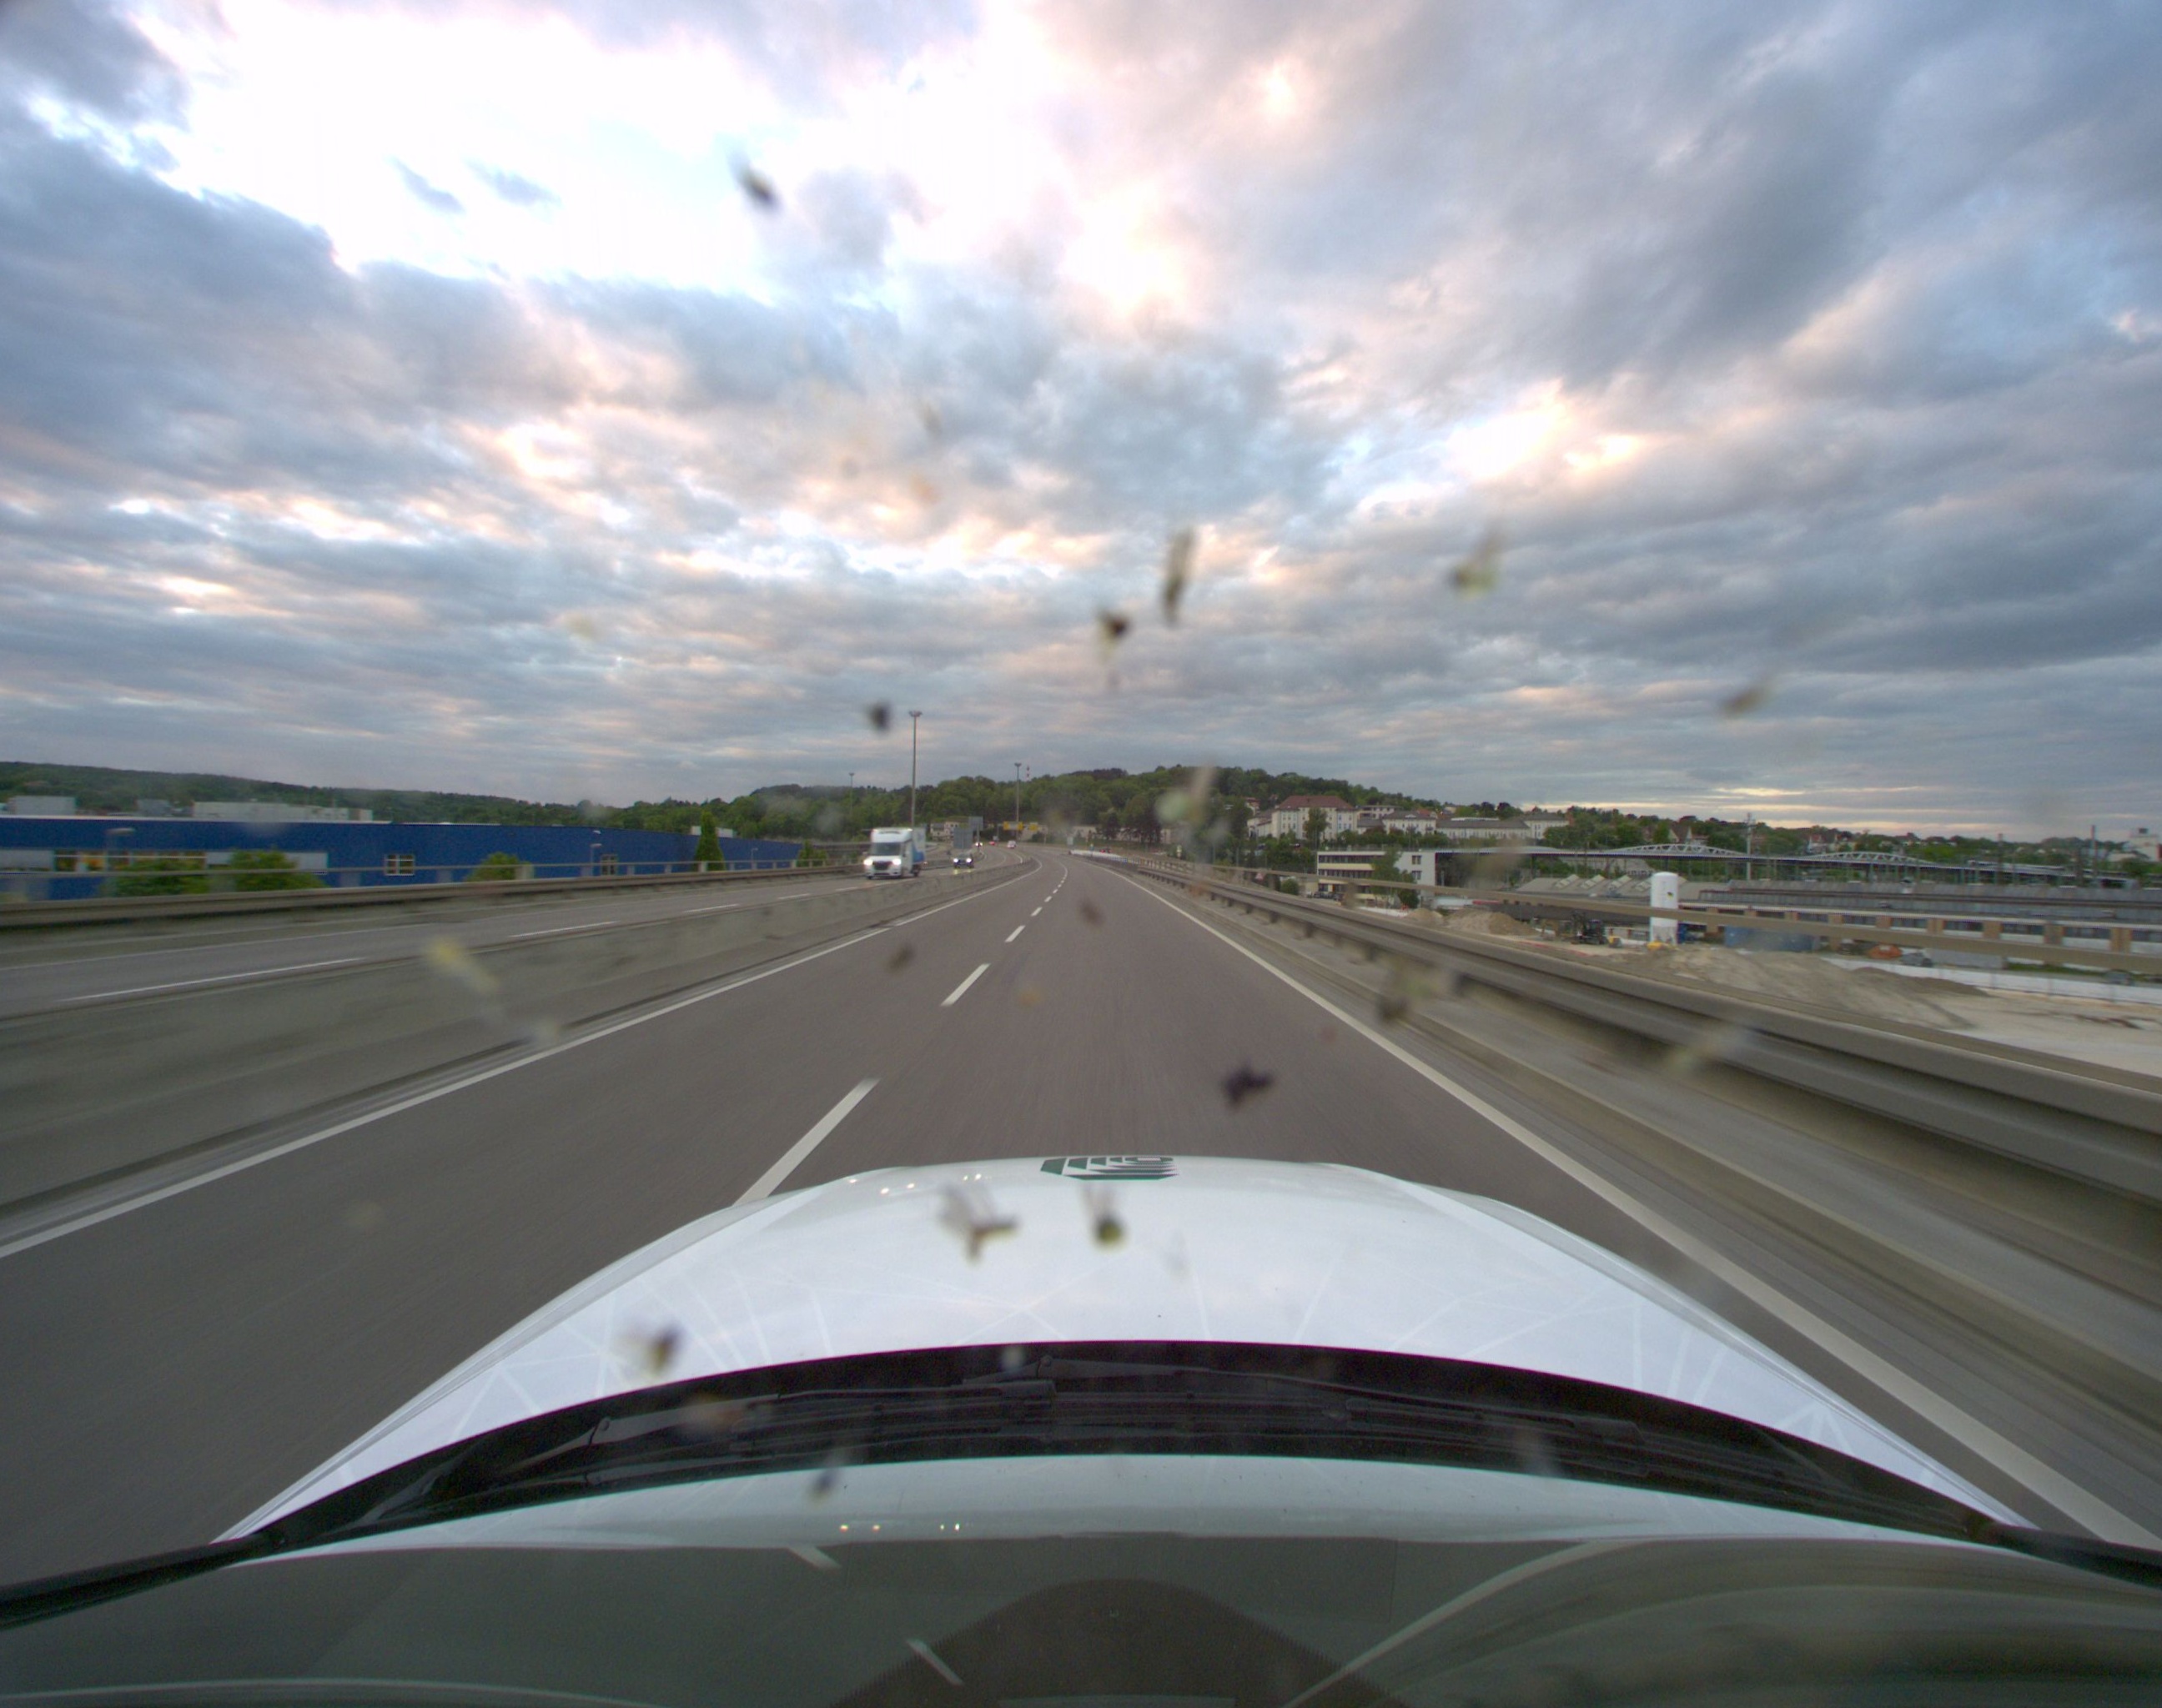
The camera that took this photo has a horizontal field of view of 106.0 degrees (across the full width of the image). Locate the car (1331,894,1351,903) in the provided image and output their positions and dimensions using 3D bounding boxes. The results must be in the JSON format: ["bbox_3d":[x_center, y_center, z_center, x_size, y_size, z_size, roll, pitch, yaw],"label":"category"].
[{"bbox_3d":[54.129,9.177,169.762,4.016,1.565,1.813,4,2,-35],"label":"car"}]

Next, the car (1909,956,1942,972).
[{"bbox_3d":[97.462,12.716,94.007,4.013,1.420,1.853,6,0,-33],"label":"car"}]

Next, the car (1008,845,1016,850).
[{"bbox_3d":[-20.050,-2.032,236.628,1.632,1.387,3.985,-1,1,-11],"label":"car"}]

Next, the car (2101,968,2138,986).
[{"bbox_3d":[104.126,12.359,81.646,4.013,1.420,1.853,6,0,-33],"label":"car"}]

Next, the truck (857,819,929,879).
[{"bbox_3d":[-11.210,-0.270,49.246,2.526,3.297,7.447,0,0,1],"label":"truck"}]

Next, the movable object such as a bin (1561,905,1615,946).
[{"bbox_3d":[62.335,8.767,100.231,4.950,4.310,2.770,6,-1,-16],"label":"movable object such as a bin"}]

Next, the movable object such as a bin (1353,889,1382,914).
[{"bbox_3d":[54.825,9.077,155.987,2.778,4.310,4.935,6,0,-13],"label":"movable object such as a bin"}]

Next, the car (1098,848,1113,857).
[{"bbox_3d":[4.951,-0.274,164.620,2.304,1.763,4.249,1,1,-9],"label":"car"}]

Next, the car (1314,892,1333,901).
[{"bbox_3d":[52.688,9.218,176.838,4.016,1.565,1.813,4,2,-35],"label":"car"}]

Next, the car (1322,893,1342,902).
[{"bbox_3d":[53.522,9.199,173.663,4.016,1.565,1.813,4,2,-35],"label":"car"}]

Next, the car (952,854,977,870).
[{"bbox_3d":[-11.738,0.797,82.141,1.971,1.605,4.438,0,0,-2],"label":"car"}]

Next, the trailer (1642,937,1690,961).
[{"bbox_3d":[62.107,10.052,86.514,1.992,1.803,3.834,6,0,-8],"label":"trailer"}]

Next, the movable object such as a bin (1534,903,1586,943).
[{"bbox_3d":[61.074,8.791,103.867,4.950,4.310,2.770,6,-1,-16],"label":"movable object such as a bin"}]
